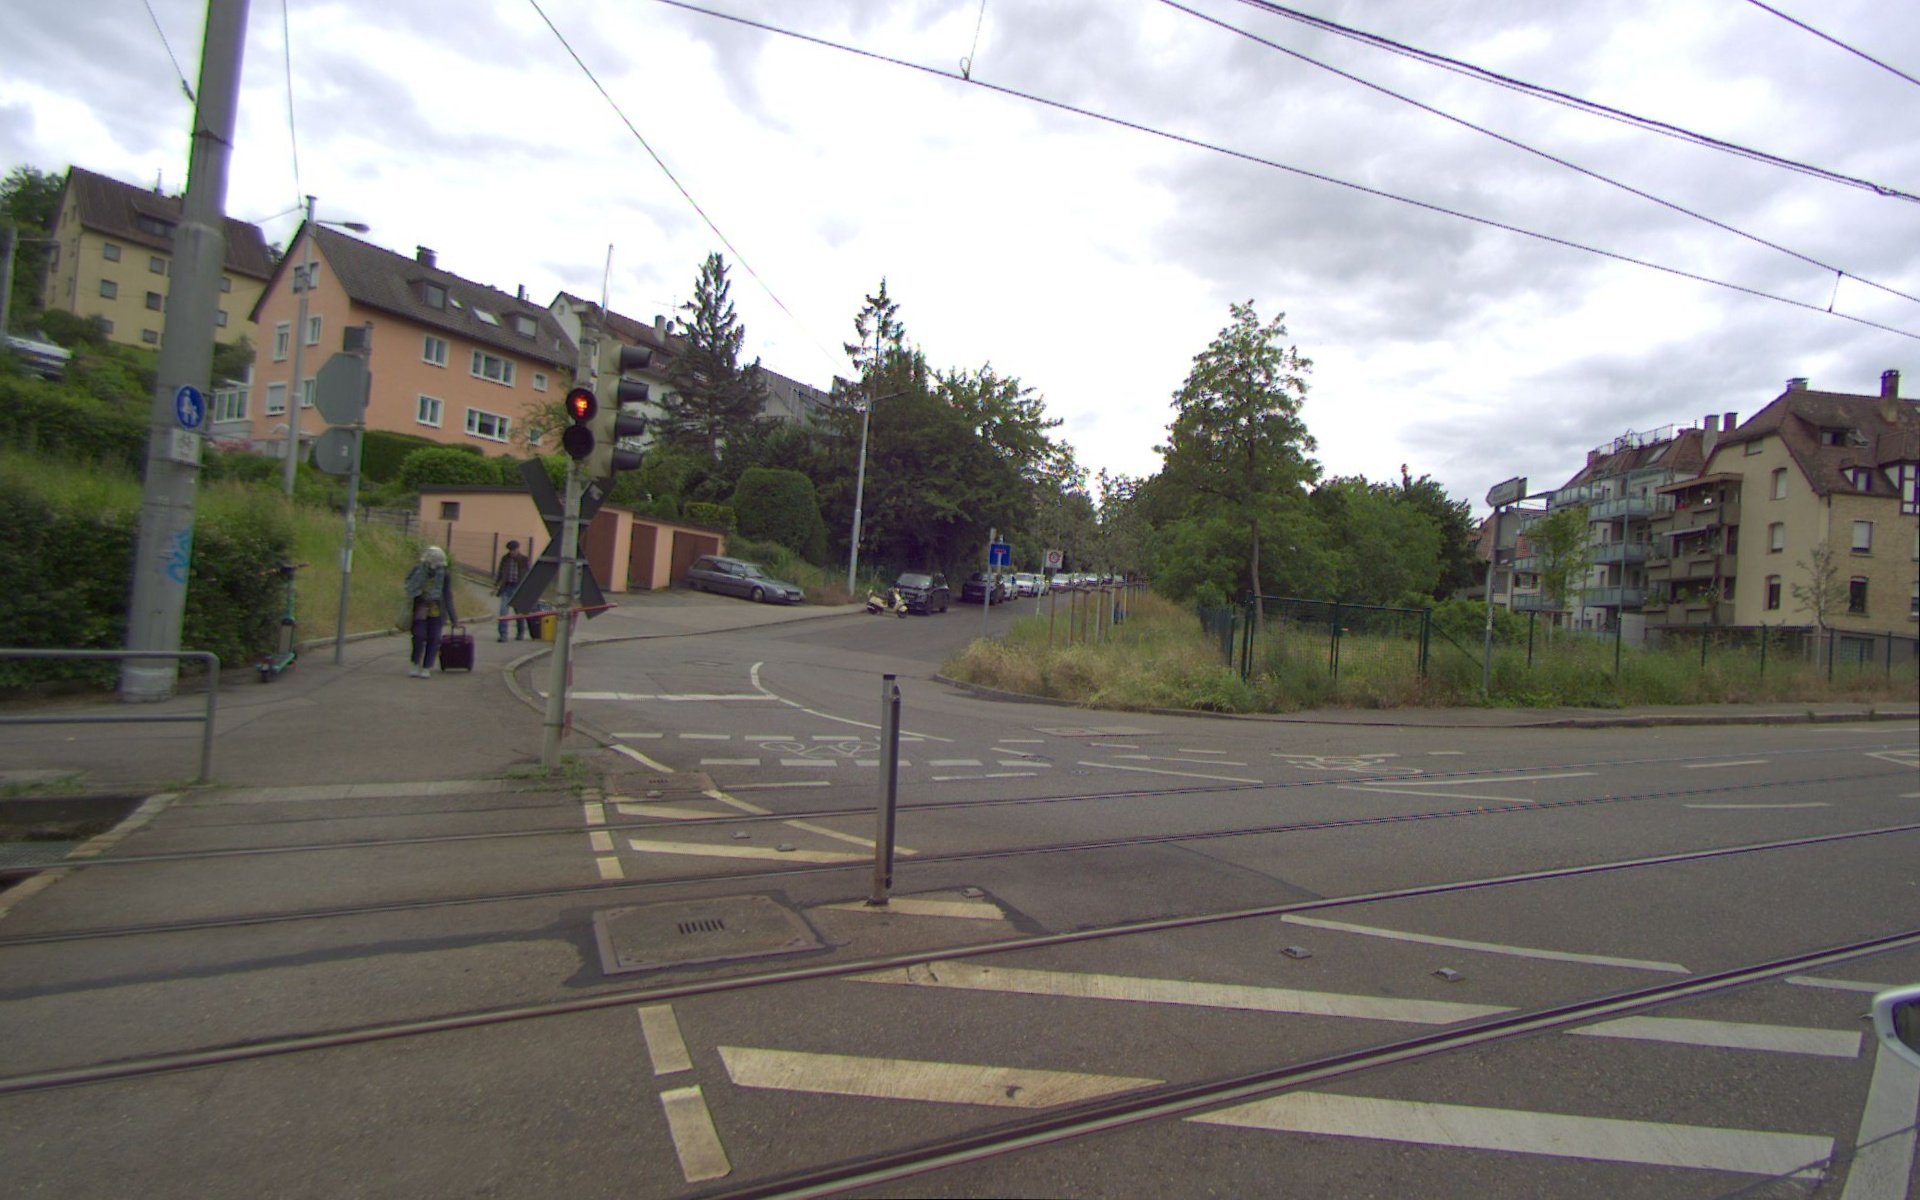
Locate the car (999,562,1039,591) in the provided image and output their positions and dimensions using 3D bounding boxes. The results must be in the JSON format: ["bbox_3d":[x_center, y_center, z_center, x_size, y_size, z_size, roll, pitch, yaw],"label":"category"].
[{"bbox_3d":[4.117,-1.583,68.887,1.863,1.812,4.486,3,0,14],"label":"car"}]

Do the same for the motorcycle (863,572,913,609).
[{"bbox_3d":[-2.655,-0.346,37.231,1.671,1.172,0.522,7,1,10],"label":"motorcycle"}]

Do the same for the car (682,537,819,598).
[{"bbox_3d":[-7.755,-1.213,37.077,4.796,1.633,1.995,9,4,32],"label":"car"}]

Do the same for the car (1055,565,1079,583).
[{"bbox_3d":[10.905,-2.632,102.330,1.800,1.680,4.134,3,0,13],"label":"car"}]

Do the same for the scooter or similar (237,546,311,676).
[{"bbox_3d":[-7.664,0.093,11.257,0.413,1.306,1.404,2,4,-24],"label":"scooter or similar"}]

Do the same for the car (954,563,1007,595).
[{"bbox_3d":[1.164,-1.120,54.497,1.942,1.531,4.134,3,0,14],"label":"car"}]

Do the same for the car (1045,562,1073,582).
[{"bbox_3d":[8.988,-2.521,90.910,1.800,1.680,4.134,3,0,14],"label":"car"}]

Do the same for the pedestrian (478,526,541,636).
[{"bbox_3d":[-7.612,-0.318,17.012,0.730,1.774,0.900,2,1,-12],"label":"pedestrian"}]

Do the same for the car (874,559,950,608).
[{"bbox_3d":[-1.862,-0.724,40.821,1.937,1.713,4.452,3,4,12],"label":"car"}]

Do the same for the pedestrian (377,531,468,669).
[{"bbox_3d":[-6.551,0.000,12.277,0.744,1.595,0.751,2,1,-12],"label":"pedestrian"}]

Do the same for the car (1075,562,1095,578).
[{"bbox_3d":[14.898,-3.591,119.752,1.800,1.680,4.134,3,0,13],"label":"car"}]

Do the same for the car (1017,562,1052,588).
[{"bbox_3d":[5.534,-1.816,74.216,1.800,1.680,4.134,3,0,14],"label":"car"}]

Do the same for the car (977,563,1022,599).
[{"bbox_3d":[2.430,-1.124,61.210,1.942,2.040,4.134,3,0,13],"label":"car"}]

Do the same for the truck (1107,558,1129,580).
[{"bbox_3d":[29.080,-5.673,184.716,3.488,3.648,8.204,3,0,11],"label":"truck"}]
